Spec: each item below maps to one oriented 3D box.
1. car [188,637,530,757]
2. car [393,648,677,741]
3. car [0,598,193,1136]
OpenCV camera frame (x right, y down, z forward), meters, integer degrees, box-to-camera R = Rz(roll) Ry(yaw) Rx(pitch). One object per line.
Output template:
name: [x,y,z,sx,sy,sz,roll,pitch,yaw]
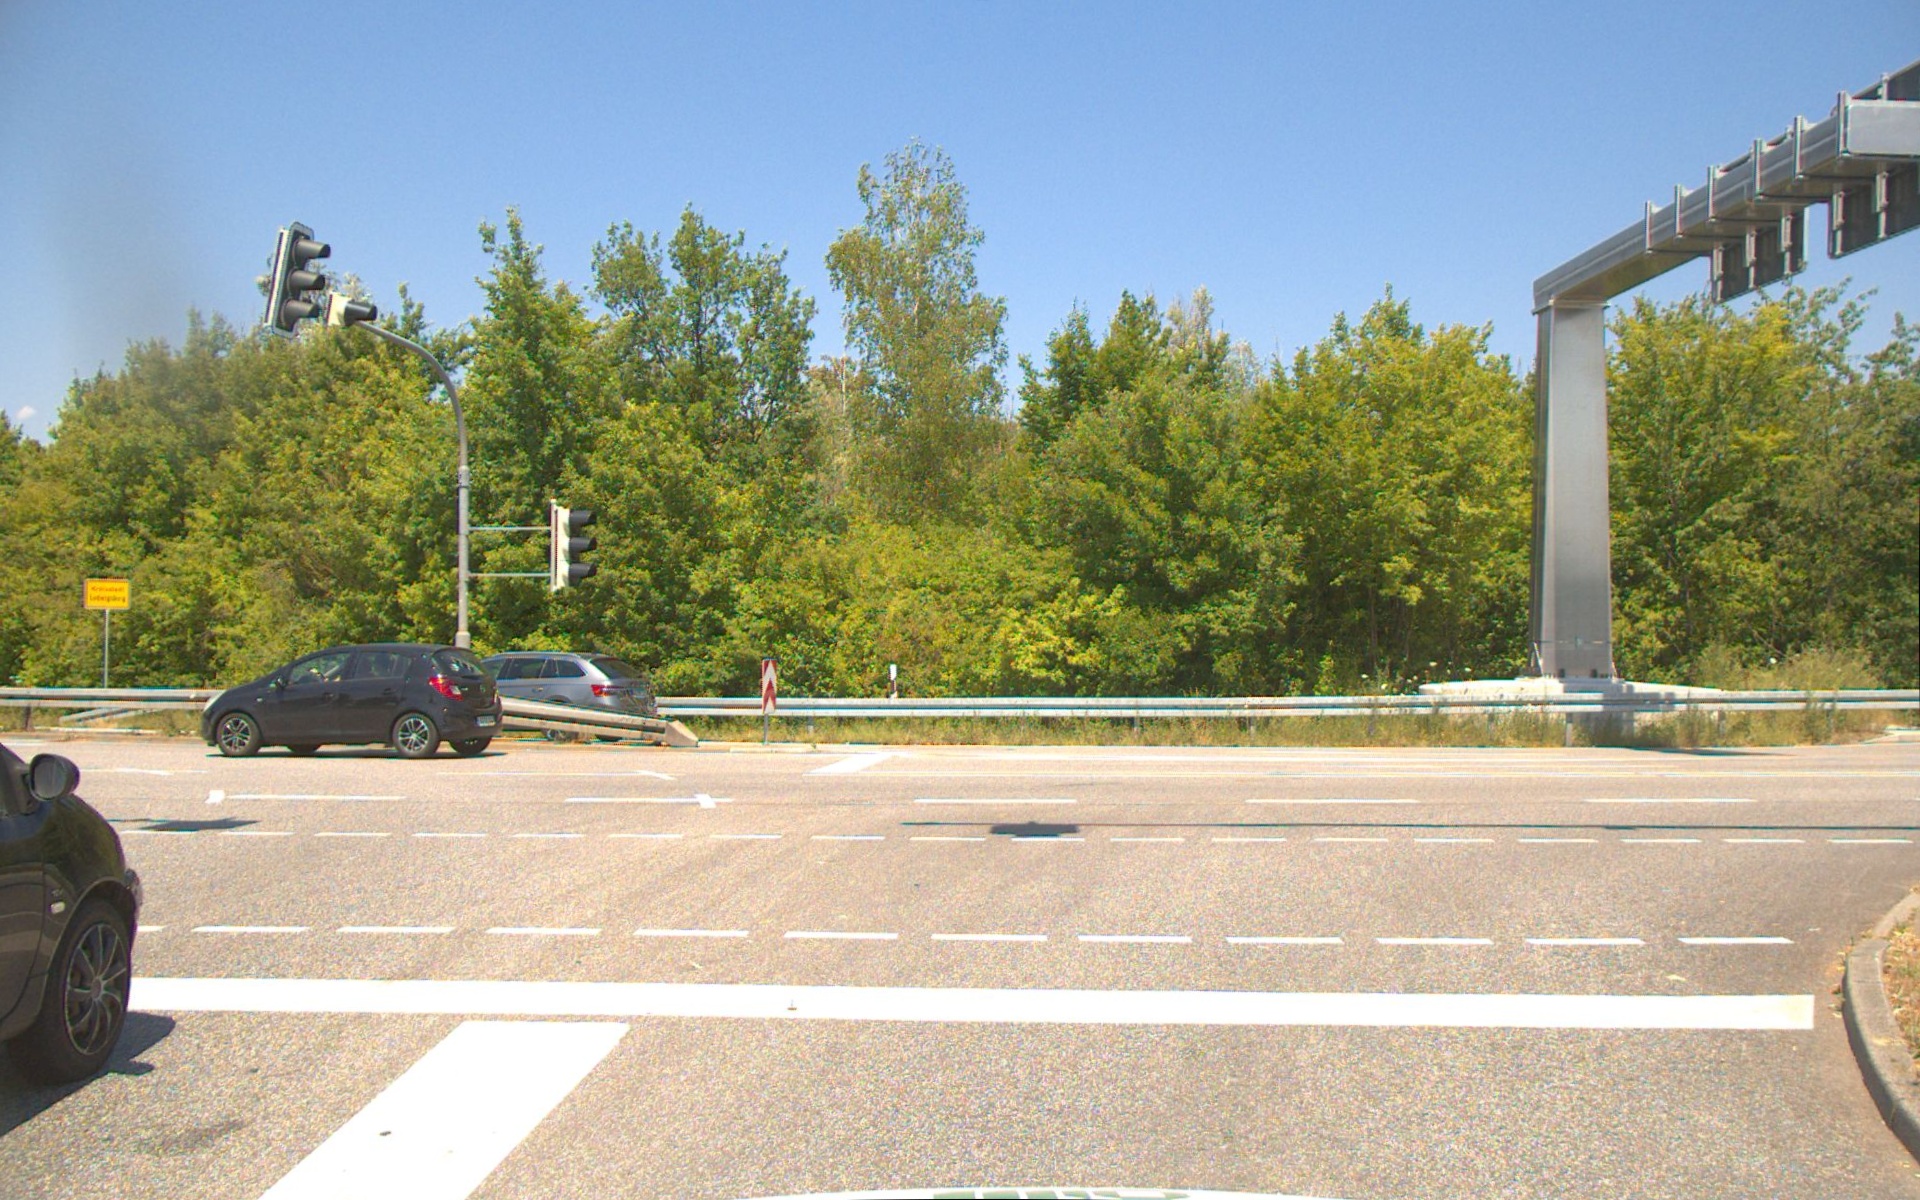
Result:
car: [-7.943,1.283,22.042,3.832,1.459,1.813,1,-3,8]
car: [-7.203,1.596,28.129,4.305,1.459,1.812,0,-4,15]
car: [-3.322,0.705,3.904,1.587,1.432,3.299,0,0,-3]
